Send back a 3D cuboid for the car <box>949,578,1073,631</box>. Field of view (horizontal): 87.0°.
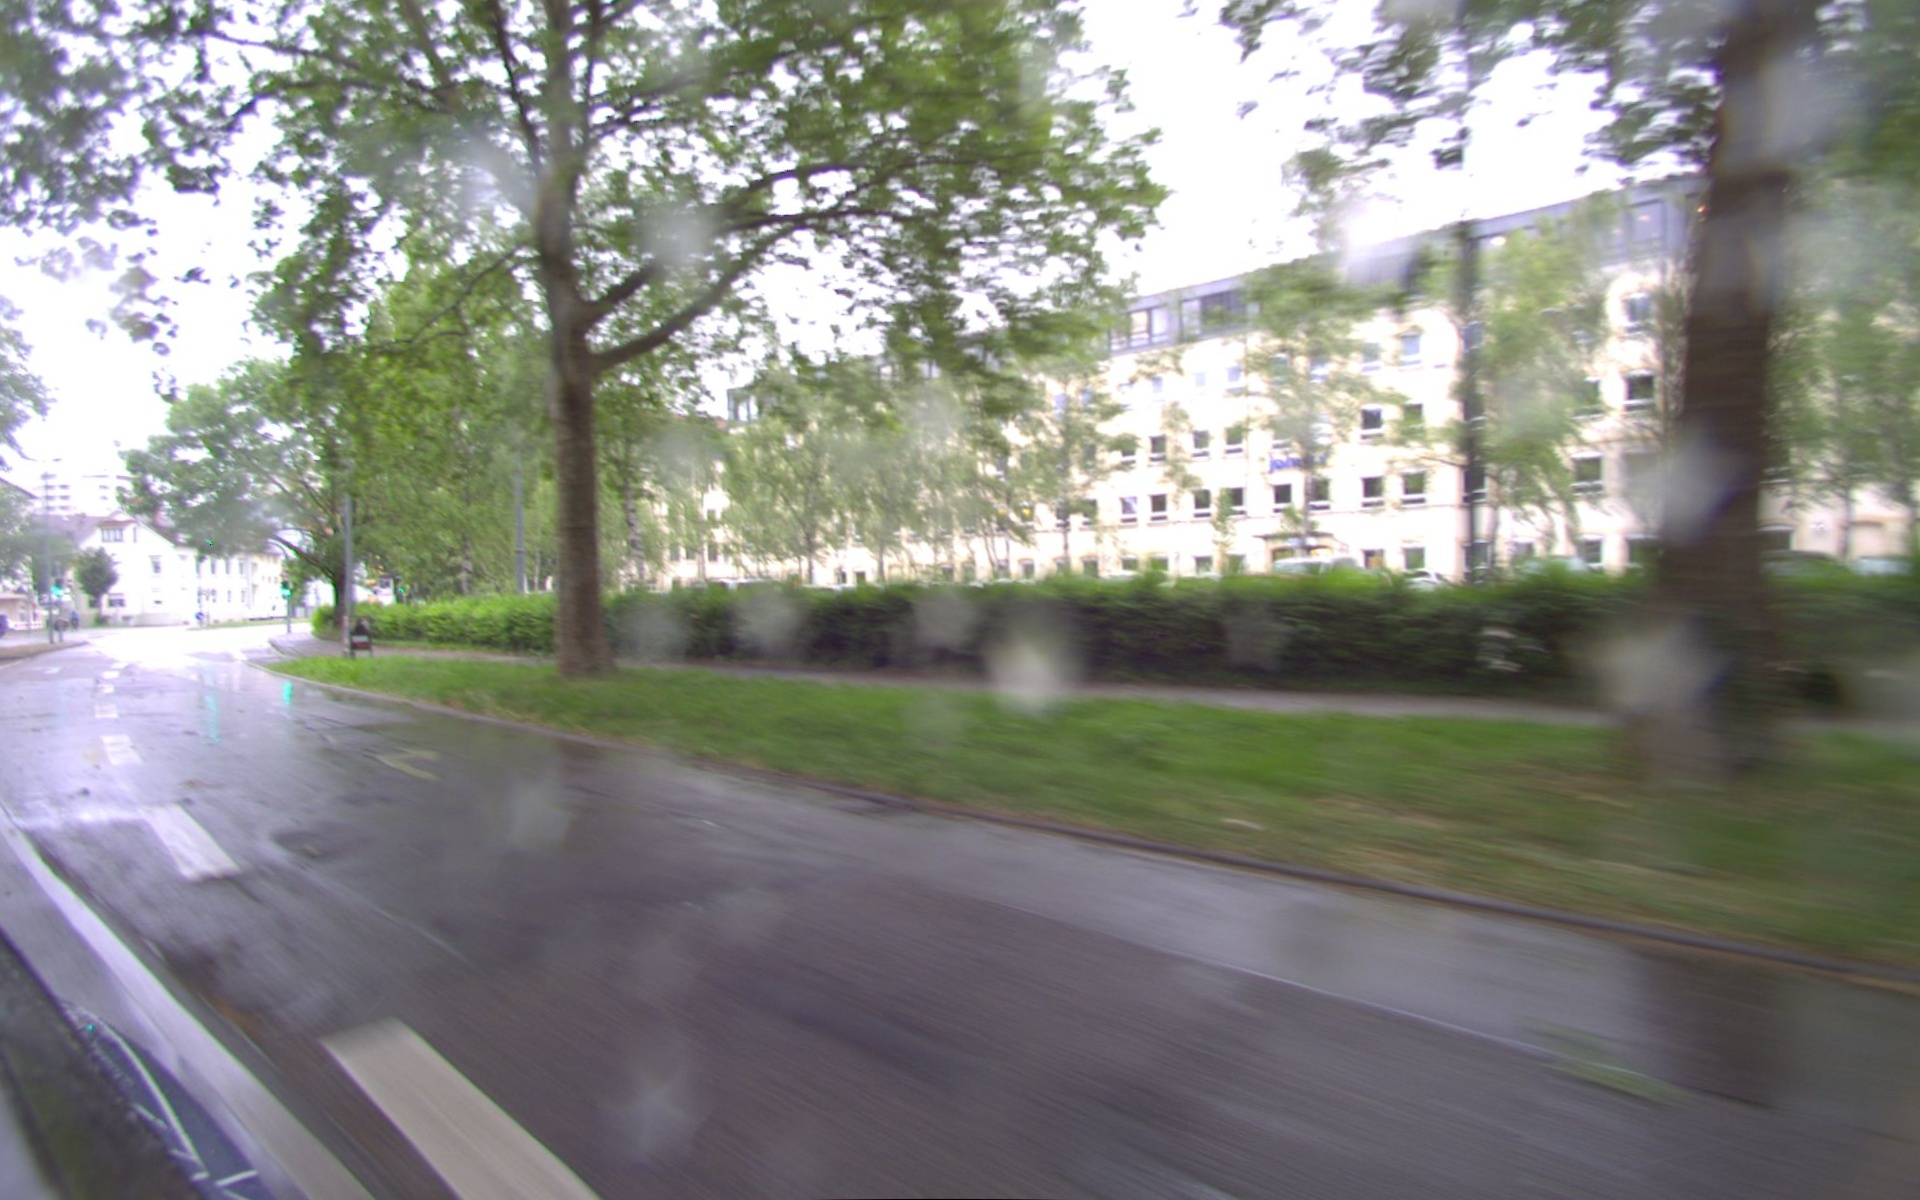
[{"bbox_3d":[1.712,0.131,32.976,1.886,1.562,3.943,-1,1,43],"label":"car"}]

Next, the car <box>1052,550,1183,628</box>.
[{"bbox_3d":[4.714,-0.302,30.007,2.000,2.149,3.944,-2,-1,42],"label":"car"}]

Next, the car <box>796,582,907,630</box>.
[{"bbox_3d":[-4.030,0.195,38.055,1.854,1.611,3.946,-2,1,41],"label":"car"}]

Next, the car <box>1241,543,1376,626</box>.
[{"bbox_3d":[9.288,-0.377,26.812,1.999,2.029,3.945,-2,-1,42],"label":"car"}]

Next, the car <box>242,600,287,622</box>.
[{"bbox_3d":[-76.440,1.190,111.295,2.161,2.272,4.894,-2,1,-9],"label":"car"}]

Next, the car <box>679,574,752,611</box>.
[{"bbox_3d":[-22.739,-0.753,94.429,2.835,3.217,6.137,-2,1,38],"label":"car"}]

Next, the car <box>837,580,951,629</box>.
[{"bbox_3d":[-2.354,0.132,36.665,1.854,1.611,3.946,-2,1,41],"label":"car"}]

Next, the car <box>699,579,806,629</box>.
[{"bbox_3d":[-8.298,0.136,40.732,1.852,1.846,3.950,-2,1,37],"label":"car"}]

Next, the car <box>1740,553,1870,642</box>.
[{"bbox_3d":[17.004,-0.088,20.416,1.820,1.608,3.947,-2,1,40],"label":"car"}]
